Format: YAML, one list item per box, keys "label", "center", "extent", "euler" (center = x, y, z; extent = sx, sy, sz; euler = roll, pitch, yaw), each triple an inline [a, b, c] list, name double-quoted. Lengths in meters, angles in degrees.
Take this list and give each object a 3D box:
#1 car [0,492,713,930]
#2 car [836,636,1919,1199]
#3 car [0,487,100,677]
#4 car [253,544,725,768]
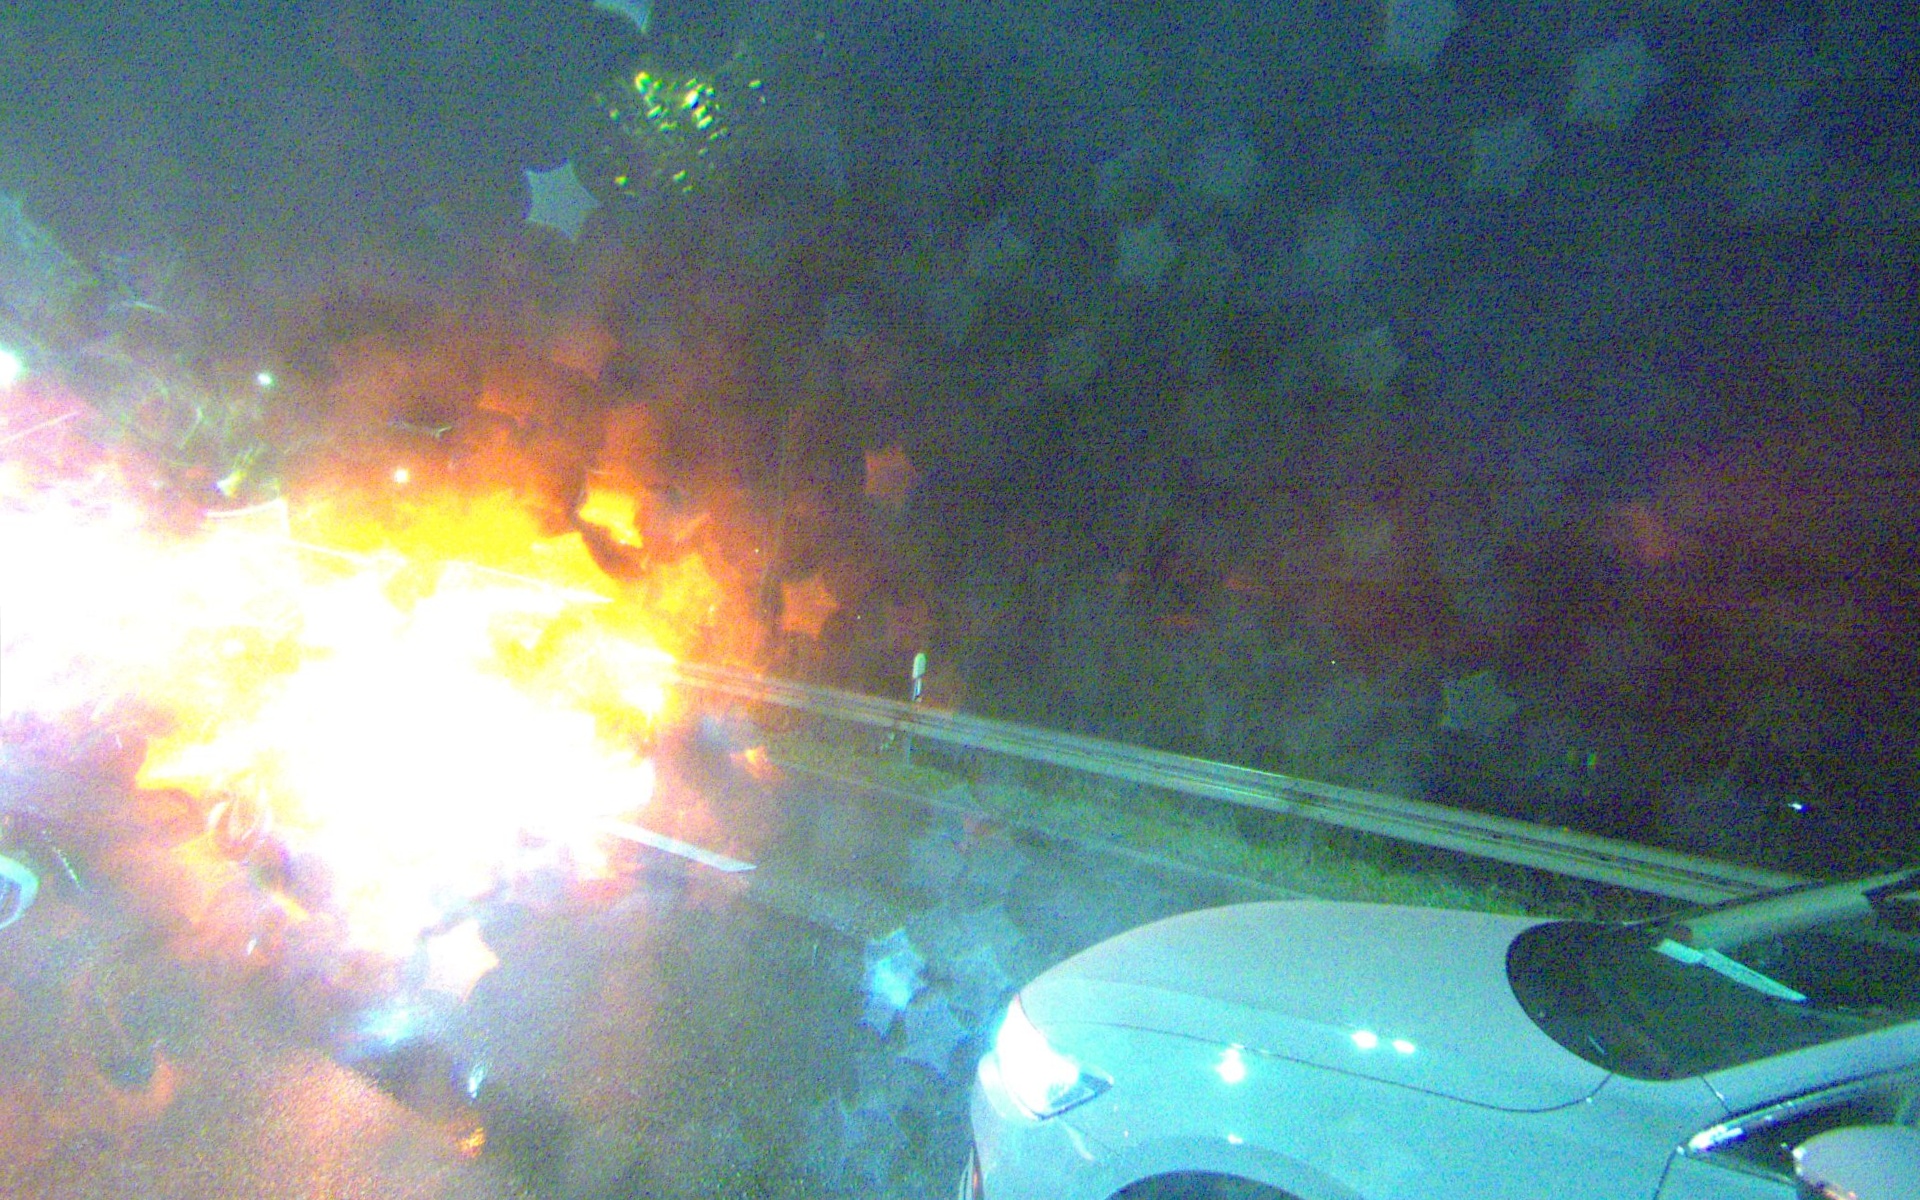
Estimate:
- label: "car"
  center: [-3.715, 0.394, 5.709]
  extent: [4.484, 1.522, 1.677]
  euler: [6, -3, 32]
- label: "car"
  center: [2.057, 1.120, 1.600]
  extent: [4.342, 1.539, 1.710]
  euler: [6, -2, 32]
- label: "car"
  center: [-9.708, -0.362, 9.013]
  extent: [3.892, 1.539, 1.681]
  euler: [6, -2, 29]
- label: "car"
  center: [-4.671, 0.509, 9.871]
  extent: [4.266, 1.496, 2.000]
  euler: [6, -4, 31]
